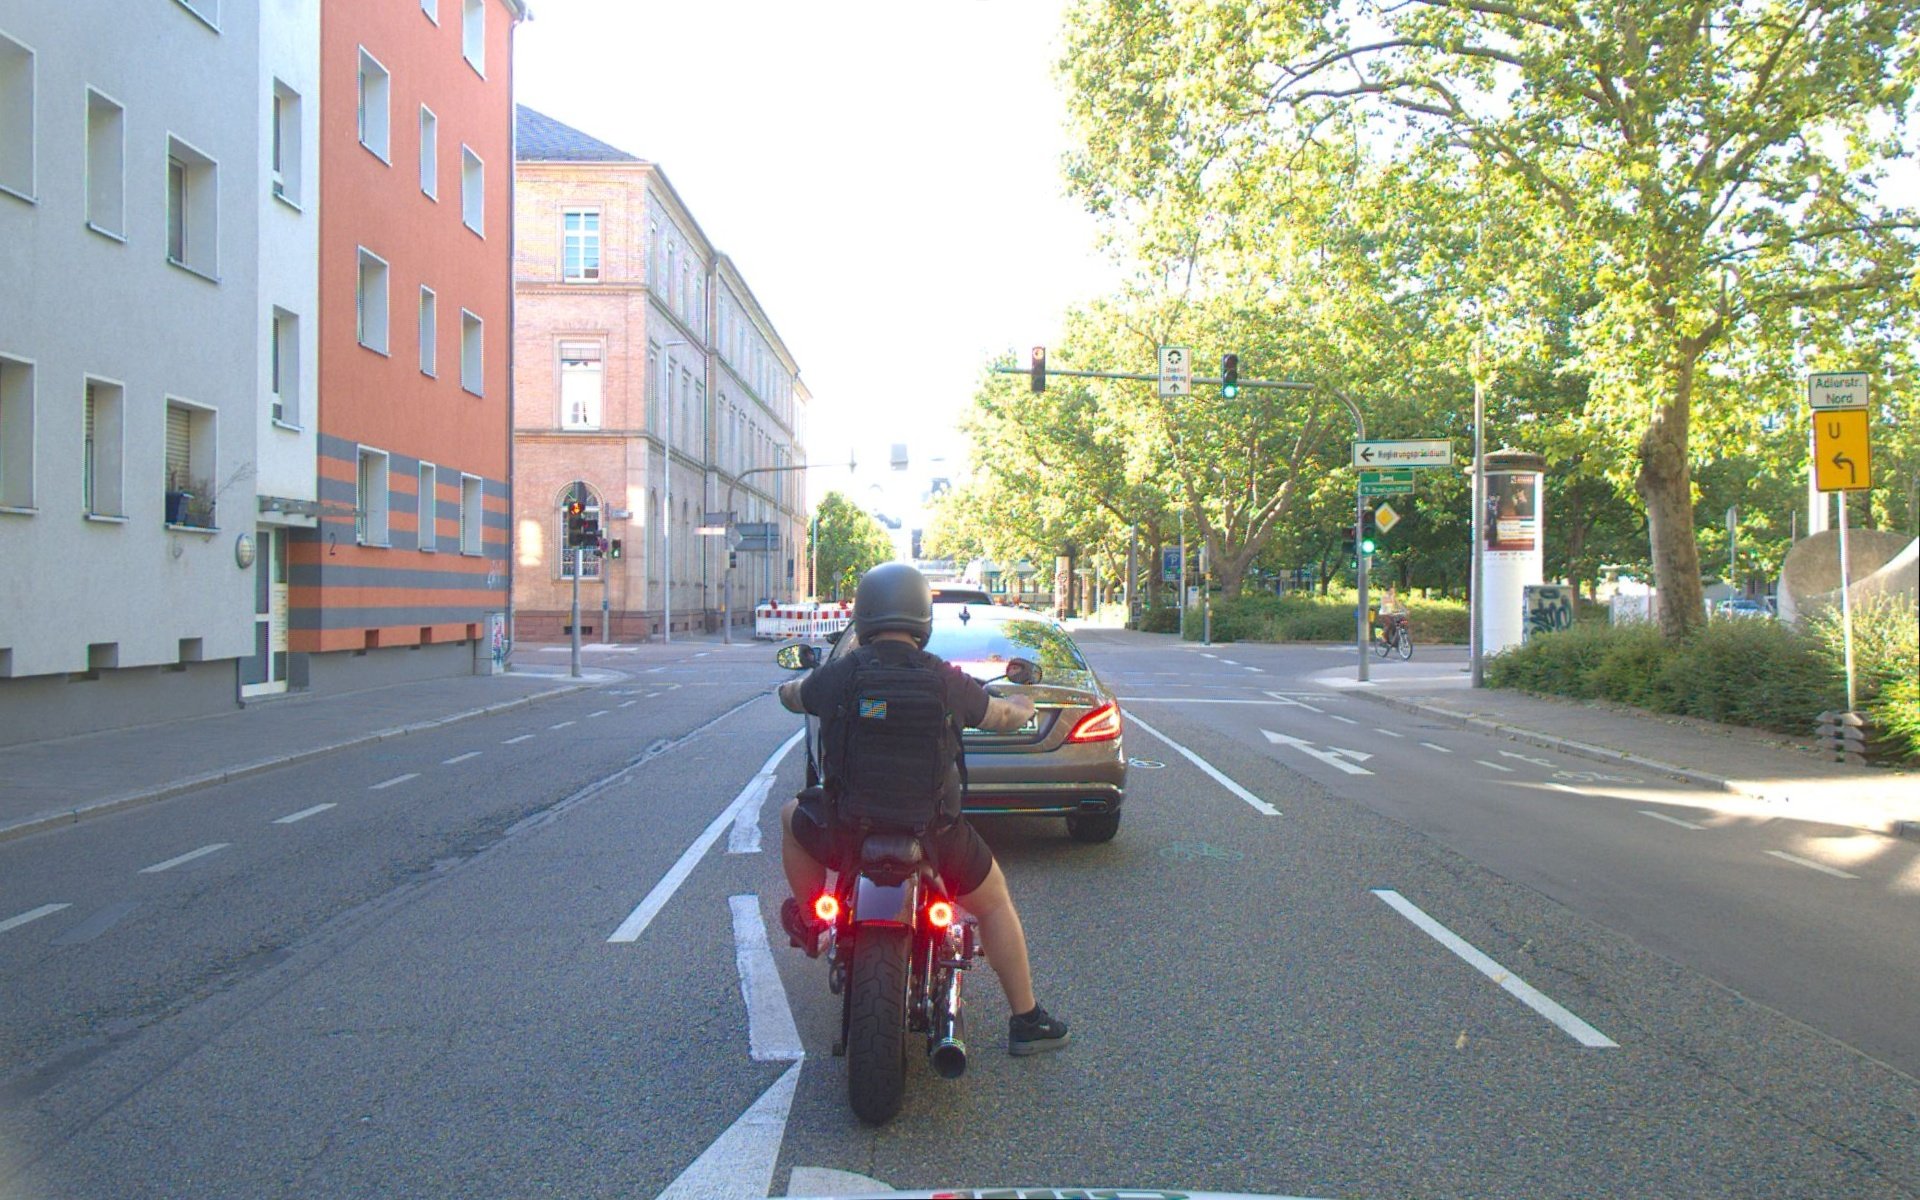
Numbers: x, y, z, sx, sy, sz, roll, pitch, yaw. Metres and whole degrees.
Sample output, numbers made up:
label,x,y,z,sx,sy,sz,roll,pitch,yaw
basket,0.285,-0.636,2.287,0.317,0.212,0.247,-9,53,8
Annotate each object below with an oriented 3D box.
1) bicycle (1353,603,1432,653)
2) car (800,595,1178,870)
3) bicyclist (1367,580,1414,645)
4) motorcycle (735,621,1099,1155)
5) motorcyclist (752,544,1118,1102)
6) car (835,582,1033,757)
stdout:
label,x,y,z,sx,sy,sz,roll,pitch,yaw
bicycle,10.803,0.692,41.357,0.706,1.193,2.159,1,0,-24
car,-0.030,0.703,11.108,1.867,1.466,4.280,0,0,-9
bicyclist,10.776,0.304,41.454,0.707,1.610,0.929,1,-1,-24
motorcycle,-0.128,0.777,5.540,0.942,1.380,2.319,1,0,-1
motorcyclist,-0.078,0.652,5.271,1.039,1.610,0.908,1,0,-1
car,-0.342,0.611,16.770,1.777,1.563,3.846,0,0,-3
